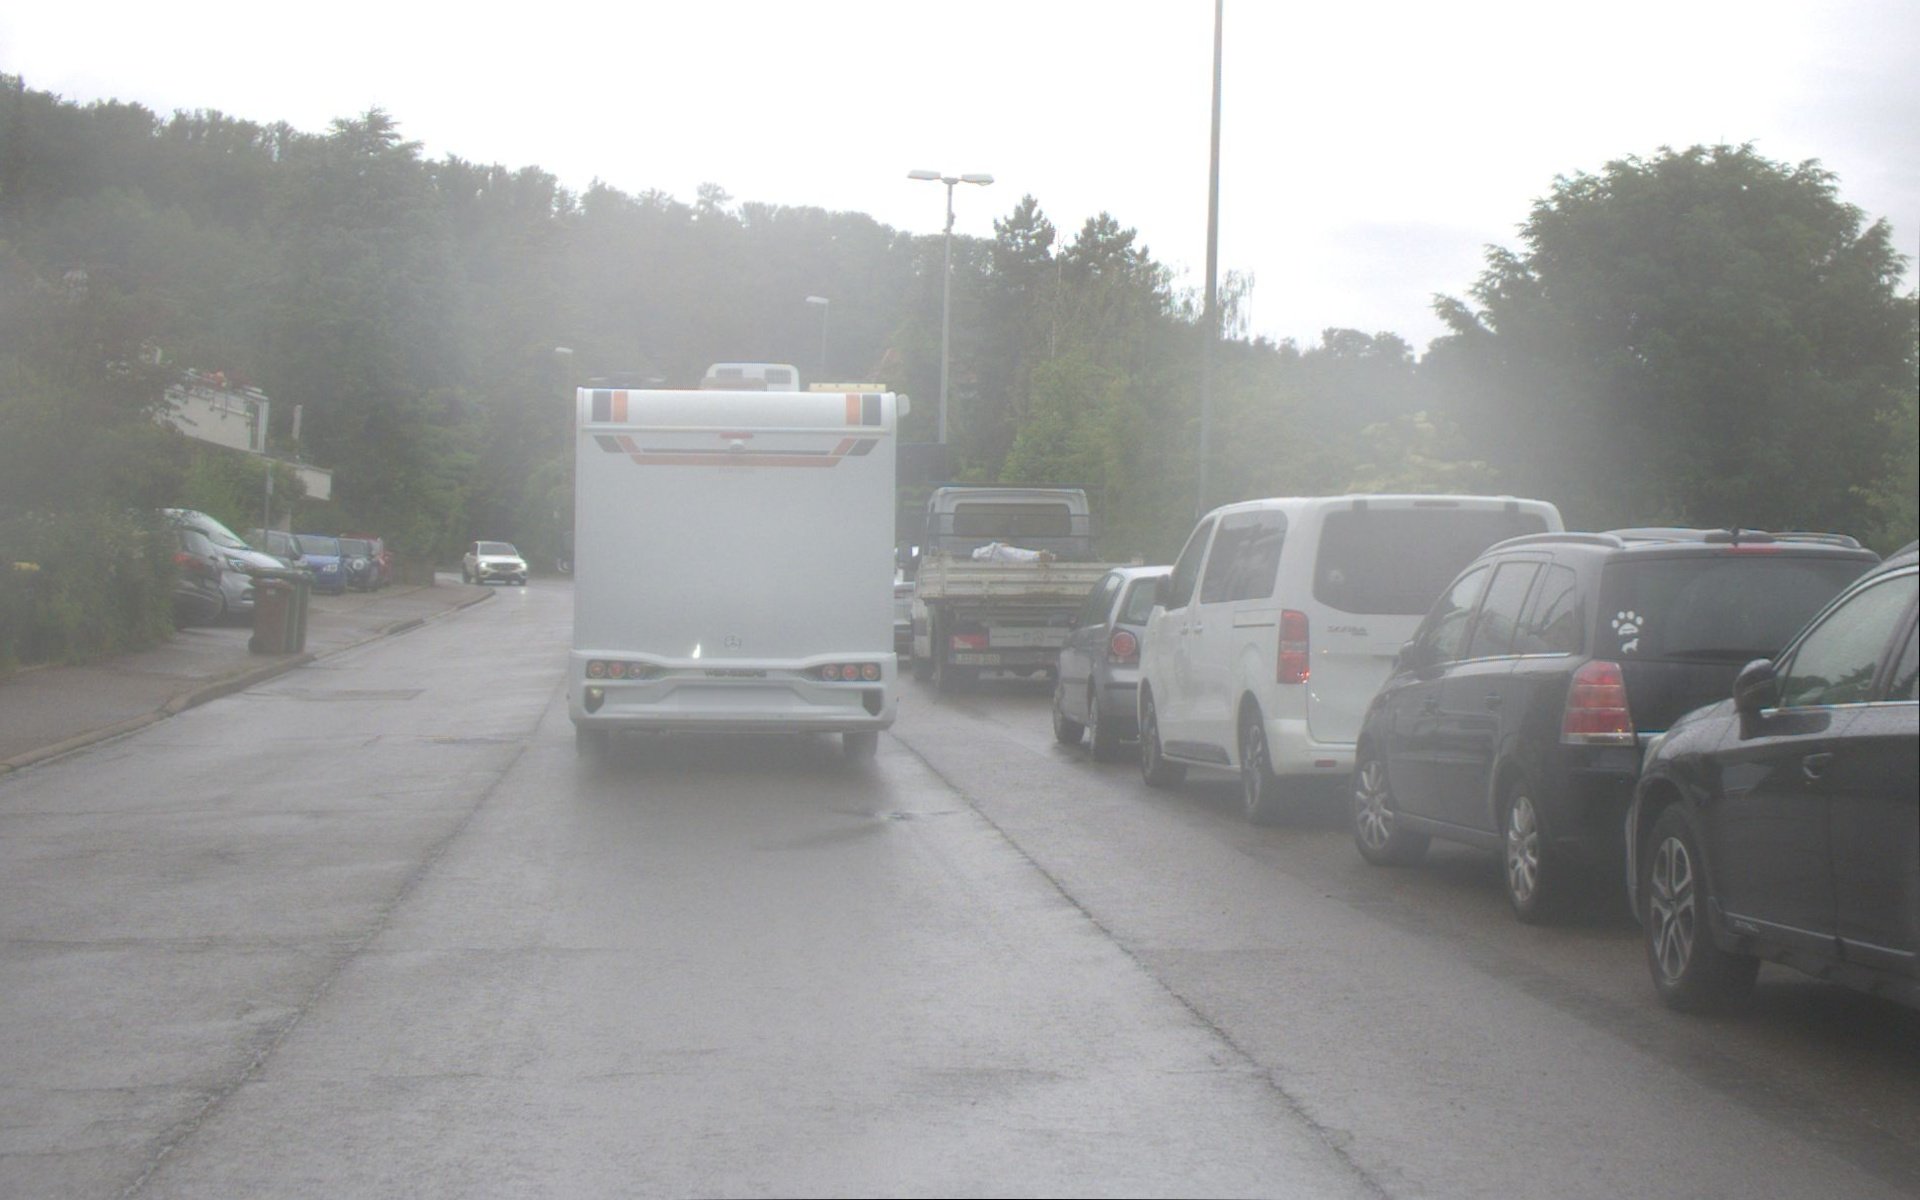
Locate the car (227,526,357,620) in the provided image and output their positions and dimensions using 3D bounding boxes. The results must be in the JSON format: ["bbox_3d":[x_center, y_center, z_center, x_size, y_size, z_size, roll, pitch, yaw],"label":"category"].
[{"bbox_3d":[-13.178,-0.552,68.025,1.689,1.583,4.197,8,1,-2],"label":"car"}]

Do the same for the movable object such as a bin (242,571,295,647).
[{"bbox_3d":[-8.674,0.111,43.146,0.602,0.925,0.564,2,1,-9],"label":"movable object such as a bin"}]

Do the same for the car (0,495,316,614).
[{"bbox_3d":[-13.607,-0.766,57.678,5.087,1.938,2.140,1,0,11],"label":"car"}]

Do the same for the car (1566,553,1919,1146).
[{"bbox_3d":[3.248,0.628,9.994,1.815,1.501,4.725,0,0,-4],"label":"car"}]

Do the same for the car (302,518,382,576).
[{"bbox_3d":[-16.568,-1.425,92.294,1.633,1.391,4.239,5,0,-5],"label":"car"}]

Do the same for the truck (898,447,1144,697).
[{"bbox_3d":[0.585,-0.316,39.620,2.239,2.622,6.539,0,0,-4],"label":"truck"}]

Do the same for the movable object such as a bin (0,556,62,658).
[{"bbox_3d":[-10.152,0.074,36.972,0.698,1.079,0.709,1,1,14],"label":"movable object such as a bin"}]

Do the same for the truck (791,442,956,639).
[{"bbox_3d":[-1.662,-1.032,62.112,2.436,3.324,7.966,0,0,-5],"label":"truck"}]

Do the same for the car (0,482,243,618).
[{"bbox_3d":[-12.688,-0.752,49.593,4.056,1.686,1.893,5,0,8],"label":"car"}]

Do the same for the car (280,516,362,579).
[{"bbox_3d":[-16.047,-1.339,86.478,1.607,1.429,3.960,5,1,-6],"label":"car"}]

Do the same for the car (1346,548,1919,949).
[{"bbox_3d":[2.950,0.557,15.383,1.644,1.535,4.354,0,0,-4],"label":"car"}]

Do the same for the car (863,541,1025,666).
[{"bbox_3d":[-0.269,0.030,46.790,1.759,1.599,4.667,0,0,-6],"label":"car"}]

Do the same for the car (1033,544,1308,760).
[{"bbox_3d":[1.570,0.364,26.922,1.647,1.558,3.964,0,0,-4],"label":"car"}]

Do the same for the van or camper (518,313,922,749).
[{"bbox_3d":[-1.864,-0.419,26.299,2.615,2.843,6.031,2,-1,-5],"label":"van or camper"}]

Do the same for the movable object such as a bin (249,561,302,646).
[{"bbox_3d":[-8.754,0.039,43.963,0.602,1.060,0.638,2,1,-9],"label":"movable object such as a bin"}]

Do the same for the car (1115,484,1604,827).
[{"bbox_3d":[2.311,0.290,21.314,1.848,1.875,4.912,0,0,-8],"label":"car"}]

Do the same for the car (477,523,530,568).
[{"bbox_3d":[-17.452,-2.089,131.536,1.905,1.602,4.429,2,1,-7],"label":"car"}]

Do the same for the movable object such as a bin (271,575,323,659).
[{"bbox_3d":[-8.596,0.215,44.564,0.602,1.060,0.698,2,1,-9],"label":"movable object such as a bin"}]
